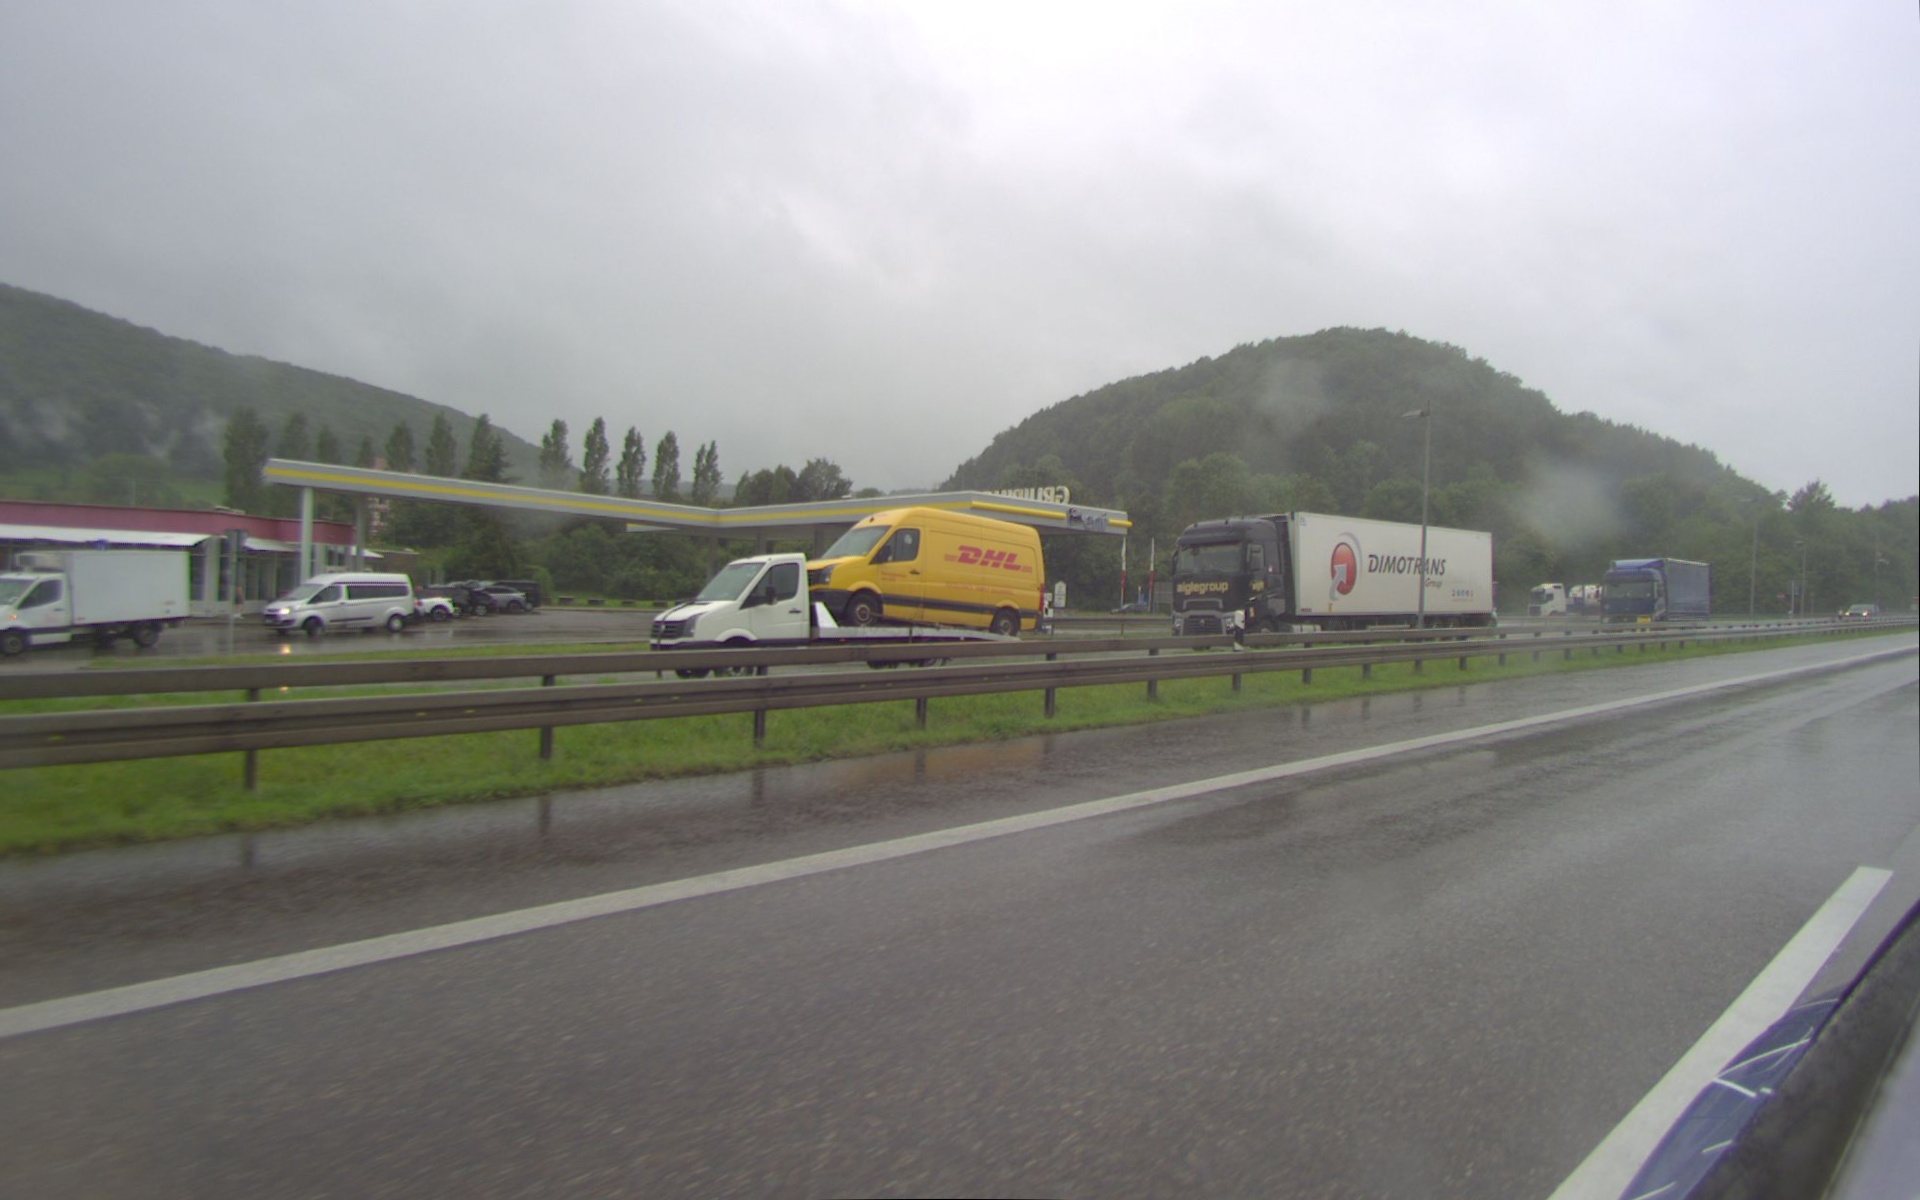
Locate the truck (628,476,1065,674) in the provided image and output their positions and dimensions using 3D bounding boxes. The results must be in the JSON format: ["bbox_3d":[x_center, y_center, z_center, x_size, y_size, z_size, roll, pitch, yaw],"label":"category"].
[{"bbox_3d":[-1.837,-0.414,19.907,8.703,3.187,2.296,0,0,-39],"label":"truck"}]

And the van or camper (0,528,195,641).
[{"bbox_3d":[-26.657,-0.417,30.278,1.971,3.098,6.144,0,0,15],"label":"van or camper"}]

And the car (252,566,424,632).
[{"bbox_3d":[-23.676,-0.043,38.785,1.982,2.337,5.397,0,0,29],"label":"car"}]

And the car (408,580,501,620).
[{"bbox_3d":[-26.315,0.012,52.747,1.993,2.039,3.936,-1,-1,44],"label":"car"}]

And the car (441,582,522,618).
[{"bbox_3d":[-28.208,0.001,59.696,3.934,2.039,1.995,0,-1,-44],"label":"car"}]

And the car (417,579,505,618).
[{"bbox_3d":[-27.529,-0.055,55.918,1.987,2.039,3.948,-1,-1,36],"label":"car"}]

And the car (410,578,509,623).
[{"bbox_3d":[-23.398,0.024,47.314,3.923,2.039,2.000,0,-1,-34],"label":"car"}]

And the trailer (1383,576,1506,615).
[{"bbox_3d":[49.136,-0.449,102.720,11.513,3.950,2.796,0,0,-6],"label":"trailer"}]

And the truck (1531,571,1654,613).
[{"bbox_3d":[65.307,-0.807,104.589,11.629,4.310,2.884,0,0,-8],"label":"truck"}]

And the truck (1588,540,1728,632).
[{"bbox_3d":[37.247,-0.617,53.793,10.853,4.459,3.407,1,-1,-40],"label":"truck"}]

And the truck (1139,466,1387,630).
[{"bbox_3d":[9.223,-1.365,30.313,7.678,4.273,3.534,0,0,-40],"label":"truck"}]

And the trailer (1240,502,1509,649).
[{"bbox_3d":[14.588,-0.722,34.811,11.708,4.316,3.523,0,0,-40],"label":"trailer"}]

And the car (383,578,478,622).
[{"bbox_3d":[-25.524,0.020,48.818,3.923,2.039,1.795,0,-1,-34],"label":"car"}]

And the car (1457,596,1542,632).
[{"bbox_3d":[27.981,0.672,52.397,5.563,1.773,1.997,0,0,-41],"label":"car"}]
